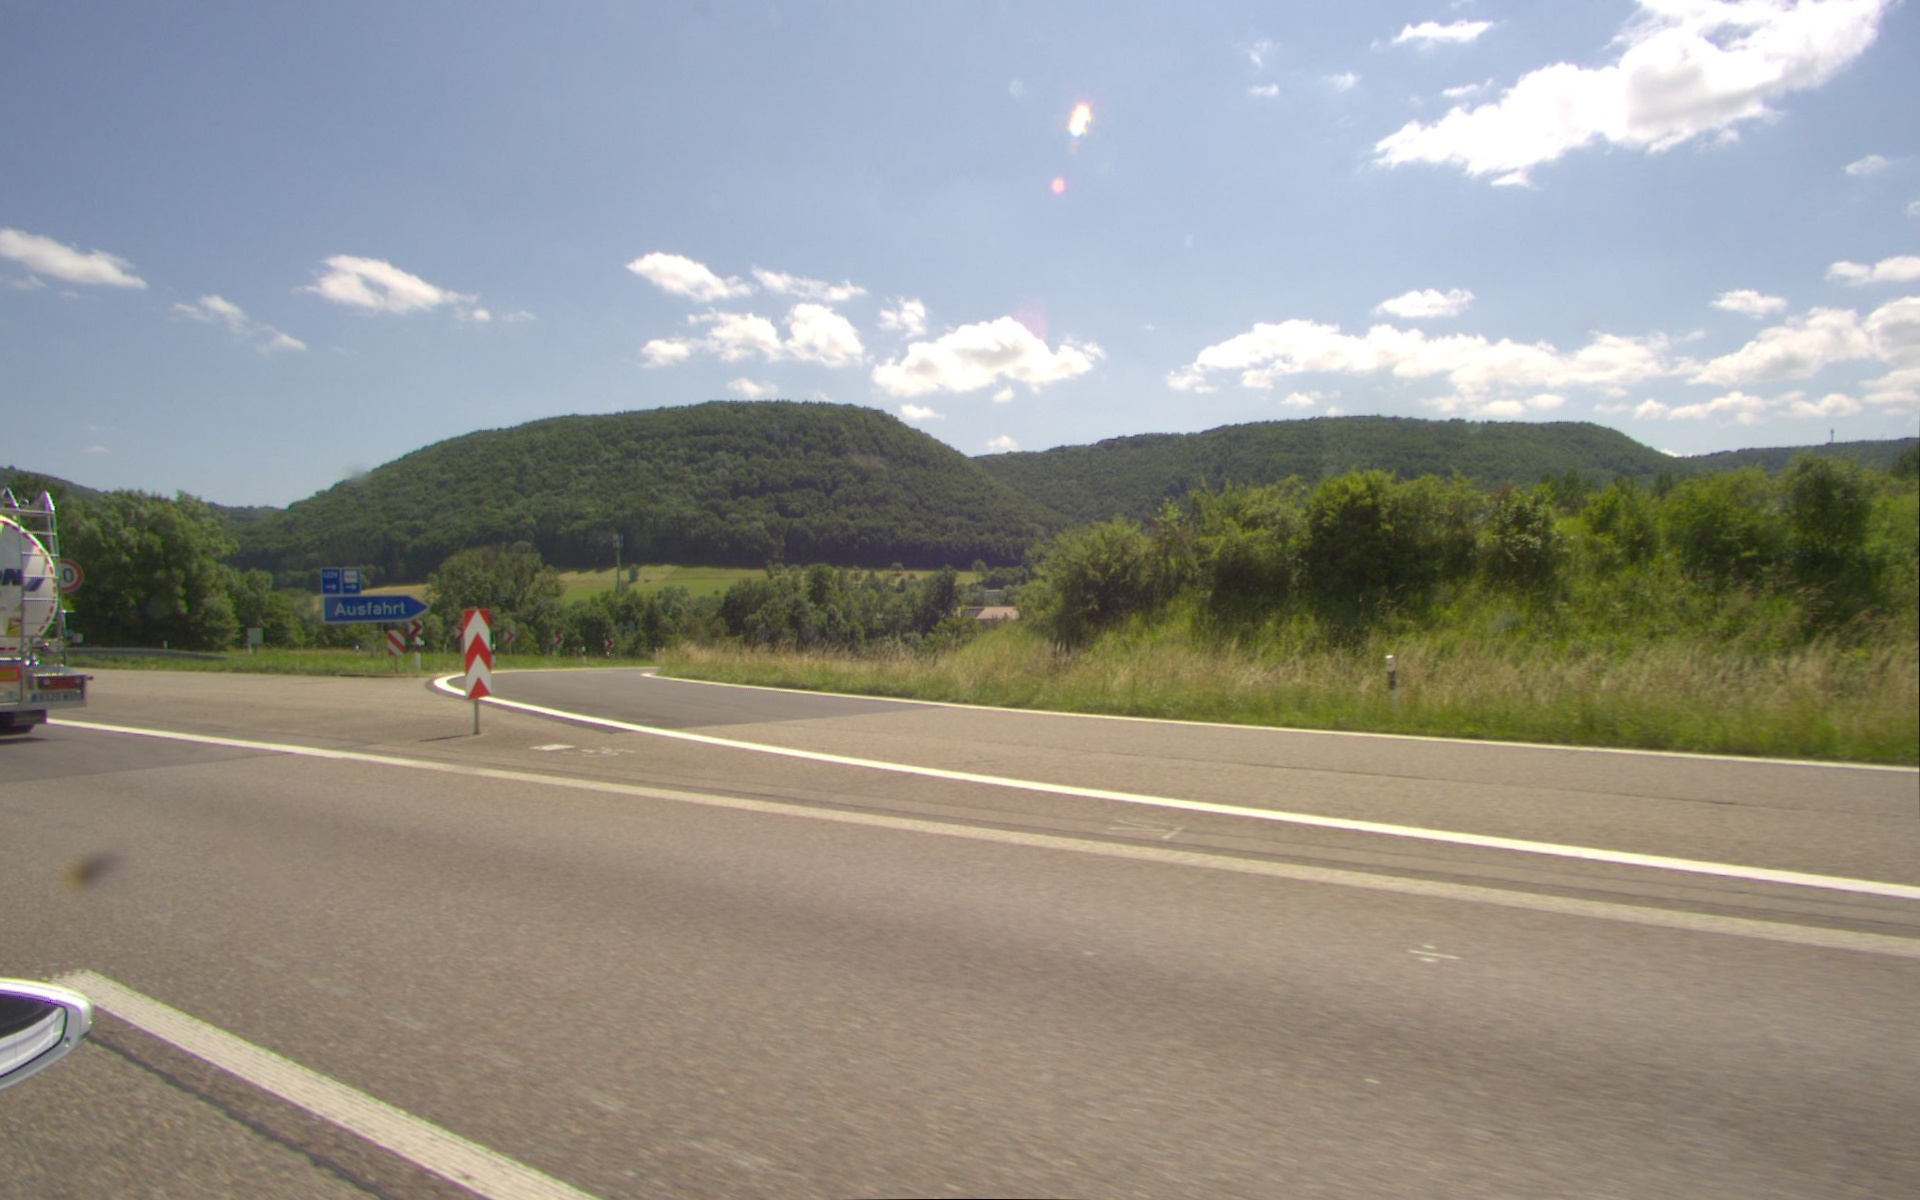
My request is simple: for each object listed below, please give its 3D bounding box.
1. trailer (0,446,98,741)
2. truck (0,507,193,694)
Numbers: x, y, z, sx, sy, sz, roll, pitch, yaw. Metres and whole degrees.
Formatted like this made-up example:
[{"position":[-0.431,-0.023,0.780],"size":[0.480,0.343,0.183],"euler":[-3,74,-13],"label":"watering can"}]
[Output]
[{"position":[-17.407,-0.006,15.677],"size":[11.720,3.784,2.533],"euler":[-1,0,32],"label":"trailer"},{"position":[-25.303,0.120,26.856],"size":[14.746,4.056,2.811],"euler":[-1,0,33],"label":"truck"}]
